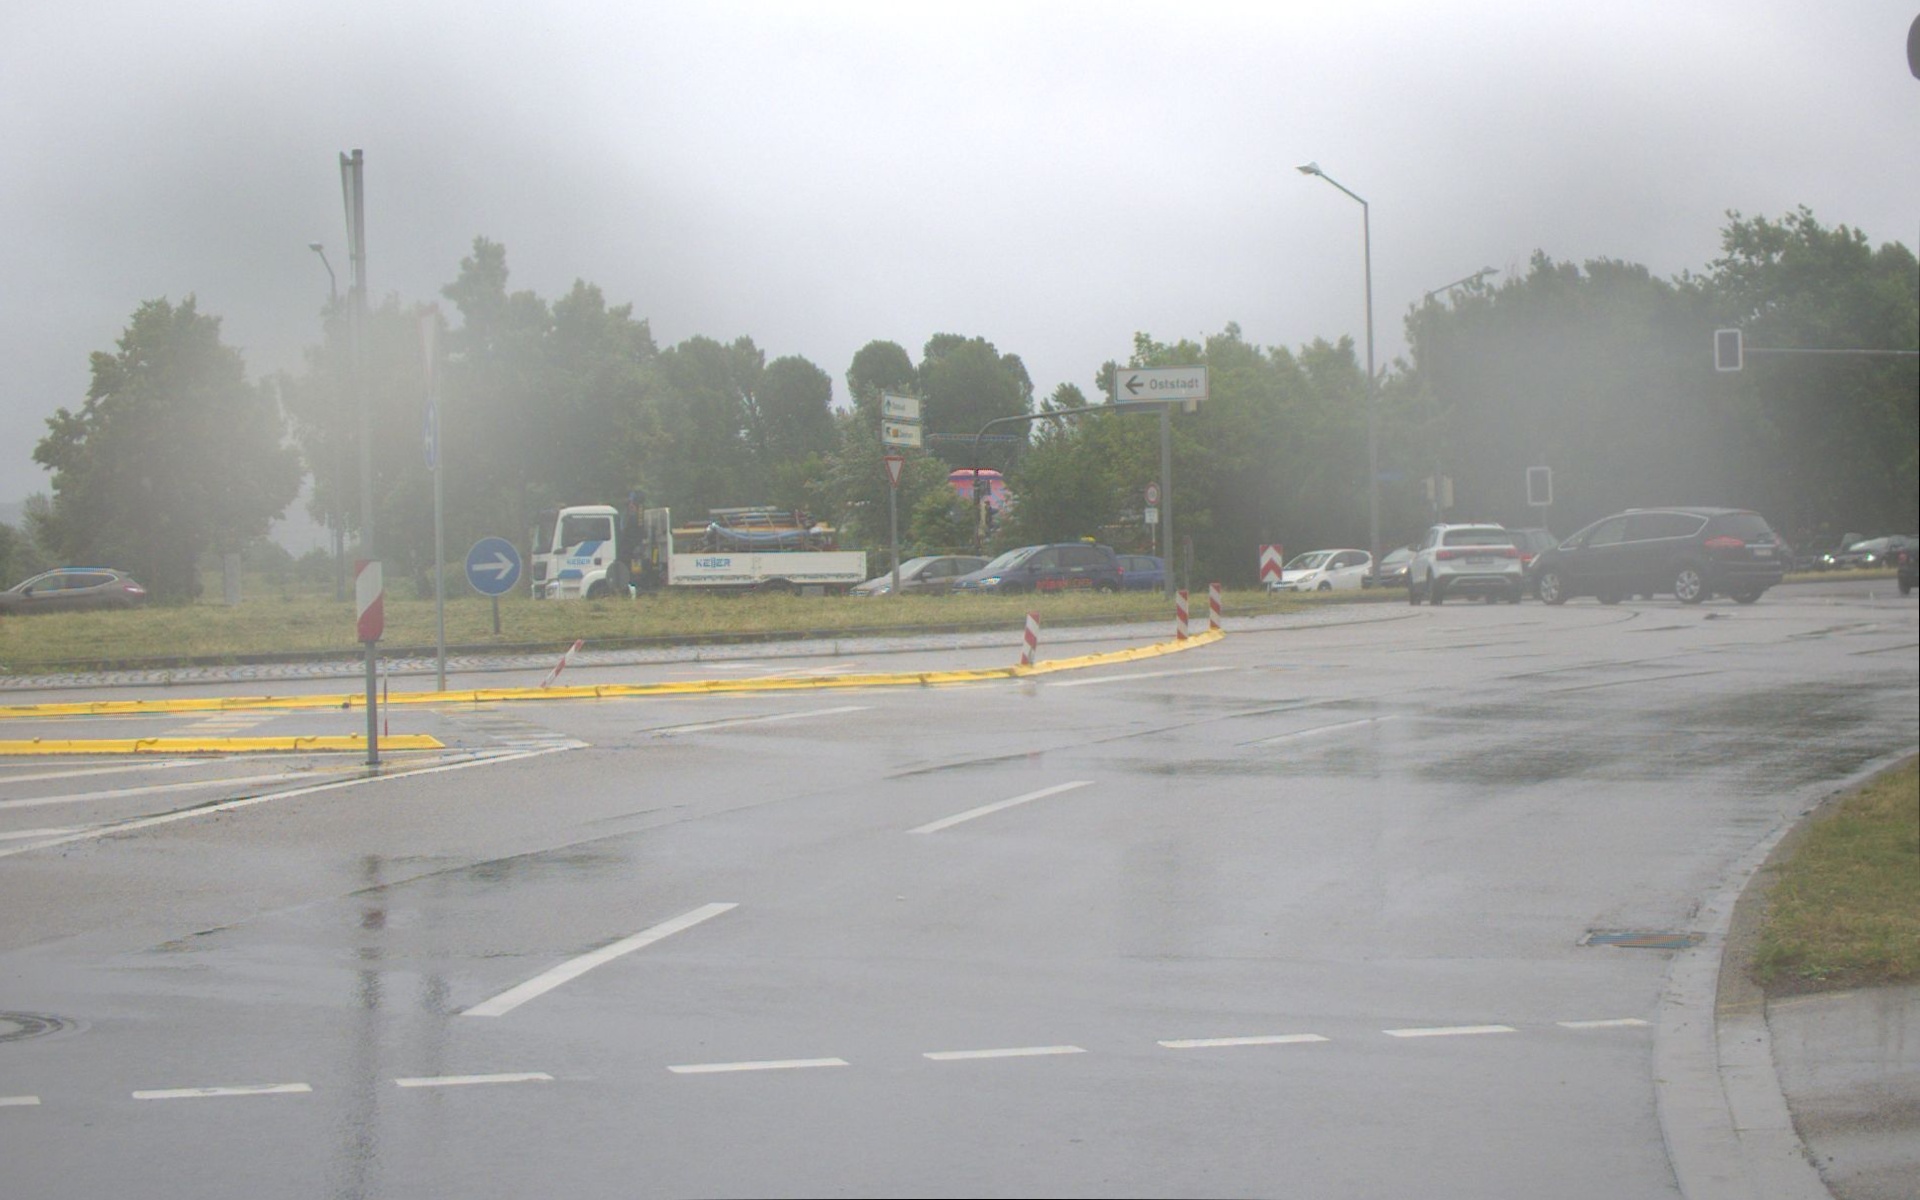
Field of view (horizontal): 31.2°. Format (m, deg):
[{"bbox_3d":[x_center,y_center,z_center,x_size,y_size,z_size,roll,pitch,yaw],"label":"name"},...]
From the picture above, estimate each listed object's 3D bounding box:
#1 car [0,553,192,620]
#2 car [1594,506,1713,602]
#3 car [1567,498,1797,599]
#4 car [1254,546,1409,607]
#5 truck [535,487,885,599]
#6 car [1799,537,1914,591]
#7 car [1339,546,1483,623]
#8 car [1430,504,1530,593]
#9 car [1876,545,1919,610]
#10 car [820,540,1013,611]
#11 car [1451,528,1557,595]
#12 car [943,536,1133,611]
[{"bbox_3d":[-20.276,-0.321,80.222,4.533,1.487,1.612,1,0,-15],"label":"car"},{"bbox_3d":[15.204,-1.003,75.228,1.785,2.029,3.995,1,1,22],"label":"car"},{"bbox_3d":[12.350,-0.882,59.036,1.783,1.642,4.001,1,1,-26],"label":"car"},{"bbox_3d":[10.840,-0.675,100.112,4.853,1.738,1.777,0,1,-44],"label":"car"},{"bbox_3d":[-6.391,-1.434,88.403,8.766,2.702,2.001,1,0,-23],"label":"truck"},{"bbox_3d":[29.618,-1.186,113.524,1.998,1.744,3.990,1,1,43],"label":"car"},{"bbox_3d":[12.145,-0.406,92.551,3.989,2.007,1.676,0,1,-43],"label":"car"},{"bbox_3d":[10.043,-0.990,66.587,1.681,1.642,3.946,1,1,6],"label":"car"},{"bbox_3d":[23.210,-0.554,81.580,1.692,1.487,3.244,0,1,37],"label":"car"},{"bbox_3d":[-1.091,-0.606,87.371,4.852,1.738,1.777,0,1,-40],"label":"car"},{"bbox_3d":[12.481,-0.878,78.762,1.690,1.487,3.247,1,1,22],"label":"car"},{"bbox_3d":[1.924,-0.629,83.206,1.776,1.738,4.853,1,1,43],"label":"car"}]
